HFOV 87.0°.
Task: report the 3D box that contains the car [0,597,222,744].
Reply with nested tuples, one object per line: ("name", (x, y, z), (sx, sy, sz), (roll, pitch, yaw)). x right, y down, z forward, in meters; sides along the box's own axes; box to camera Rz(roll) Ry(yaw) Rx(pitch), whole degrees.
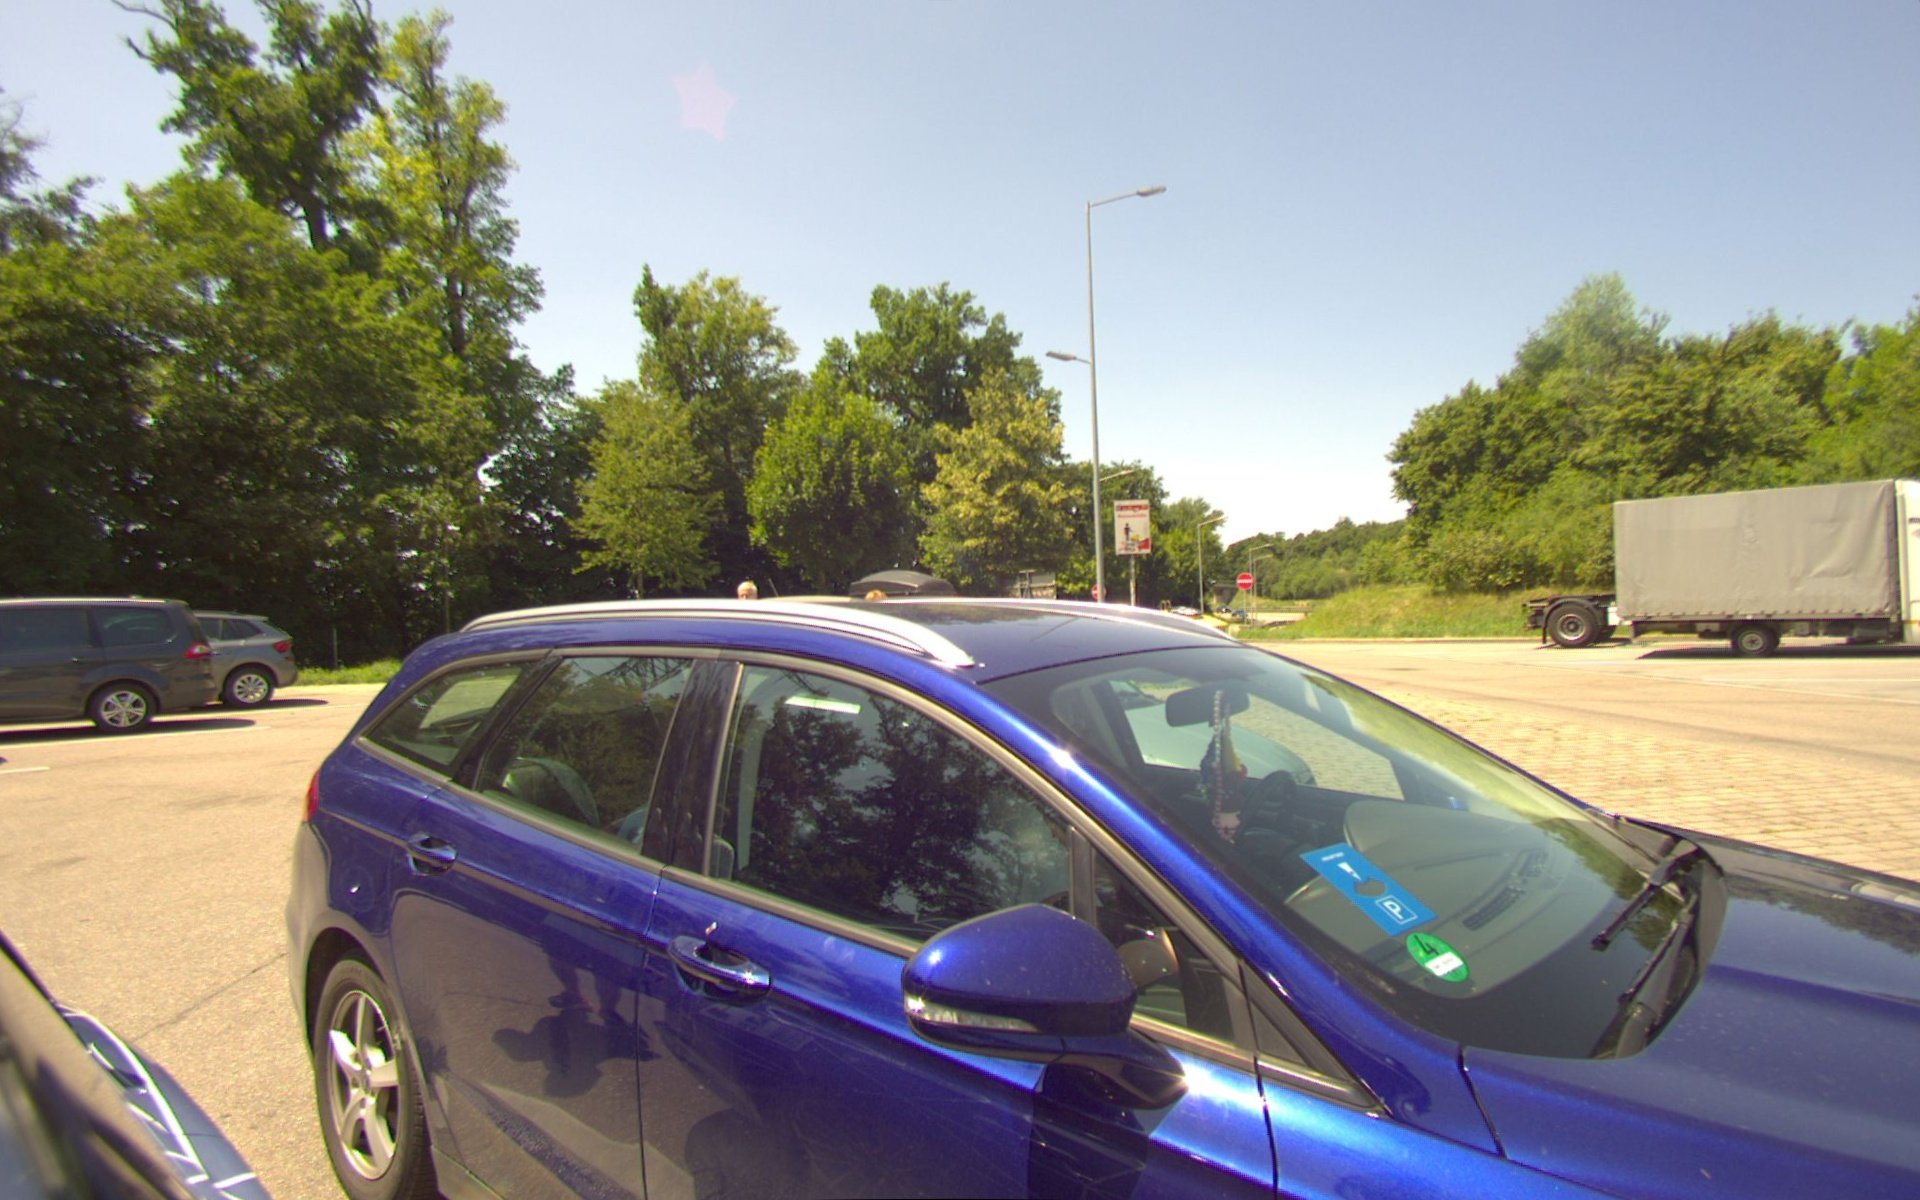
("car", (-11.684, 0.854, 12.555), (3.910, 1.701, 1.782), (-1, -1, -43))

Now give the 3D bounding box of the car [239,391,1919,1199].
("car", (0.241, 0.634, 2.102), (4.466, 1.476, 1.756), (-3, -1, 40))

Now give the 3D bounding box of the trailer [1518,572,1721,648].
("trailer", (15.775, 0.277, 24.326), (3.900, 1.674, 1.456), (-3, -1, 41))

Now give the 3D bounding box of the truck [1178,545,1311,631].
("truck", (13.316, -0.501, 47.429), (5.782, 3.720, 1.987), (-2, -1, 20))

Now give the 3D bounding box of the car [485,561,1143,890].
("car", (-1.214, 0.634, 6.671), (4.466, 1.476, 1.756), (-3, -1, 40))

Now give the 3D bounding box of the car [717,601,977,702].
("car", (-2.015, 0.834, 17.087), (4.466, 1.476, 1.756), (-3, -1, 40))

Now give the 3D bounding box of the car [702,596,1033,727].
("car", (-1.362, 0.762, 13.534), (4.466, 1.476, 1.756), (-3, -1, 40))

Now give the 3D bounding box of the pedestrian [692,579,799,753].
("pedestrian", (-2.099, 0.620, 9.902), (0.759, 1.614, 0.663), (-3, -1, 41))

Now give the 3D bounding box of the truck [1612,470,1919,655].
("truck", (16.691, -0.639, 18.789), (7.347, 3.152, 2.339), (-3, -2, 41))

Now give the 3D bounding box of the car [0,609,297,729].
("car", (-12.714, 0.979, 15.606), (3.910, 1.598, 1.782), (-1, -1, -43))
